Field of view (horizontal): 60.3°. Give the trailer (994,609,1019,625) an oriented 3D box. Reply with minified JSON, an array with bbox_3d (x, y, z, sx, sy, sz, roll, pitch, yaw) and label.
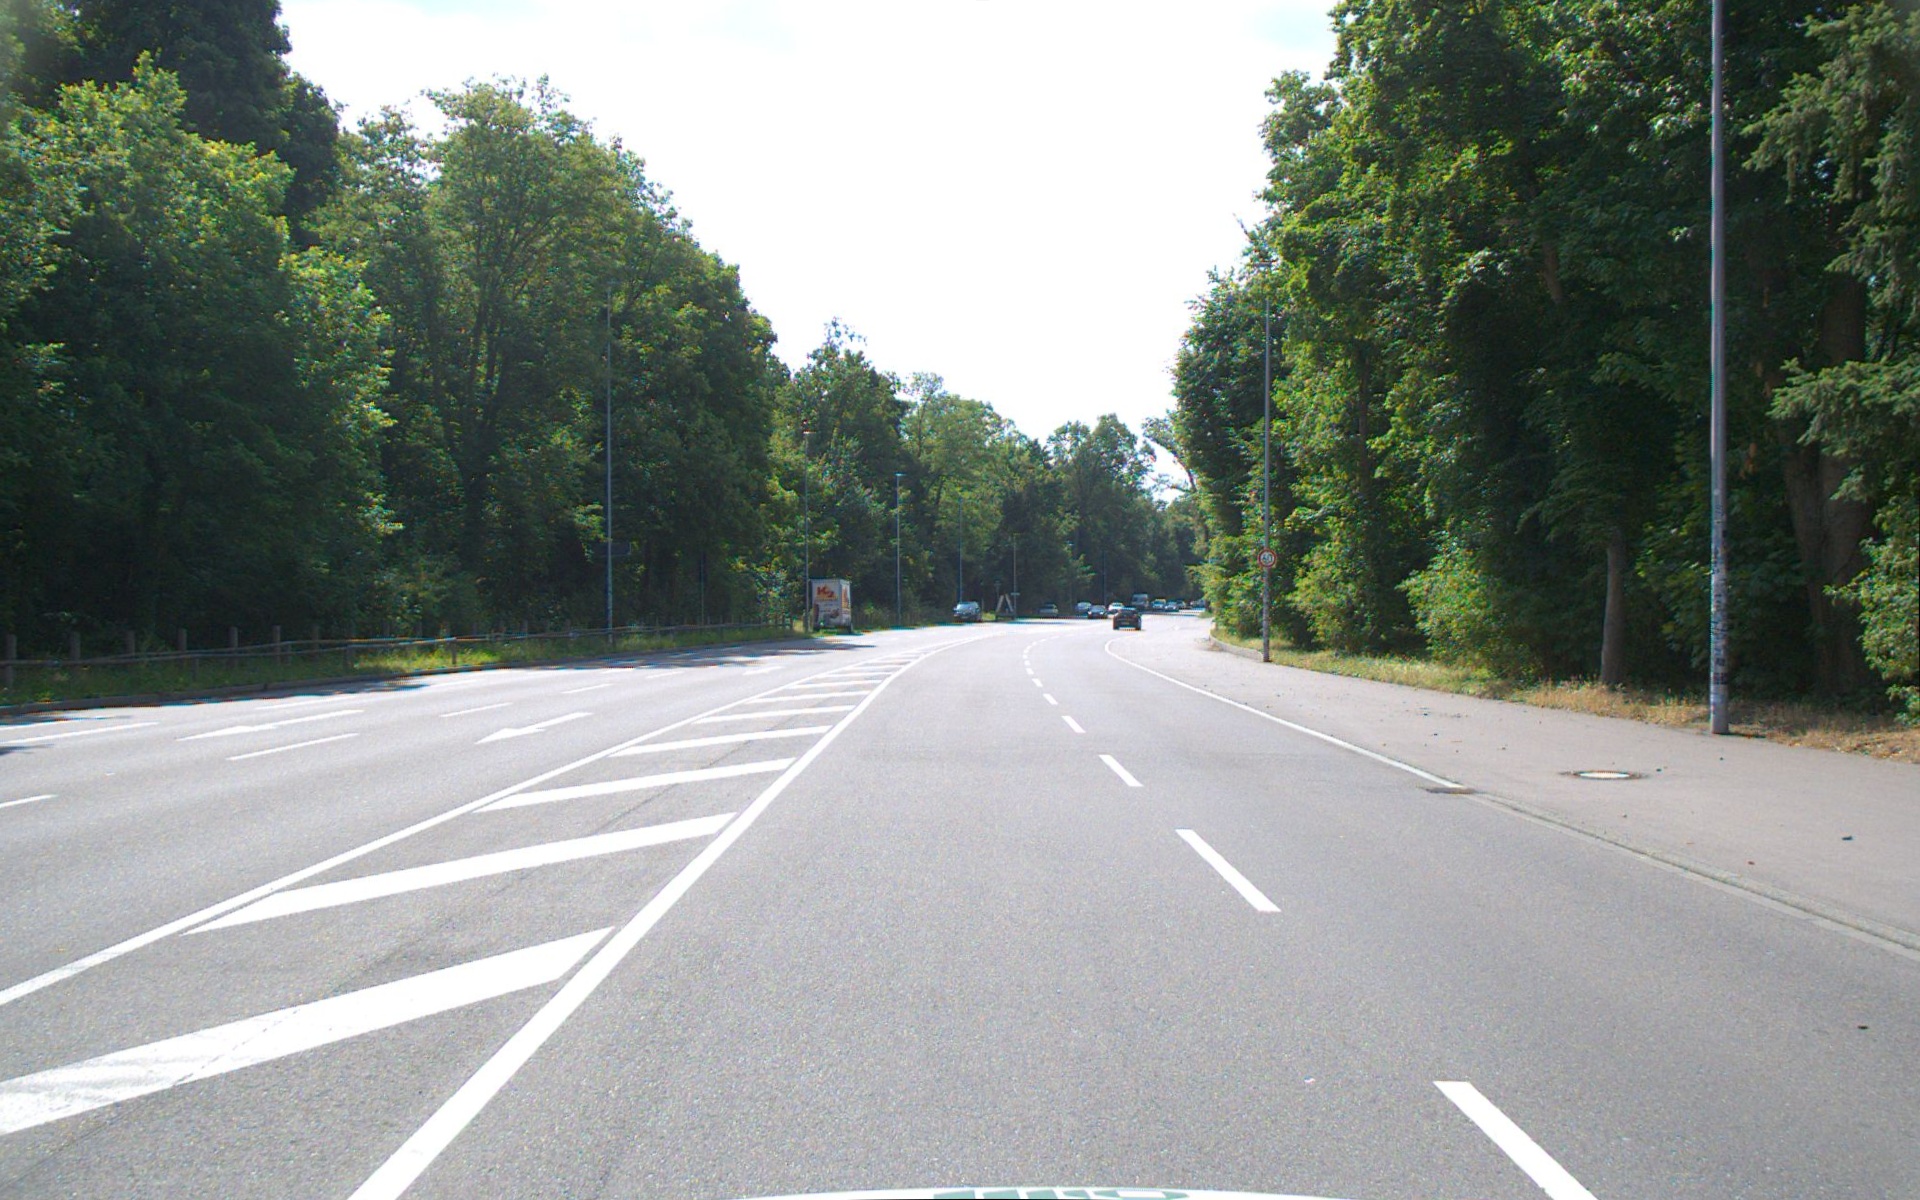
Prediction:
[{"bbox_3d":[4.179,1.530,149.159,1.679,1.378,3.735,1,0,10],"label":"trailer"}]

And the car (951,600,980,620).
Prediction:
[{"bbox_3d":[0.432,0.756,126.569,1.471,1.472,3.532,0,0,12],"label":"car"}]

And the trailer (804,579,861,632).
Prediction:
[{"bbox_3d":[-5.981,0.260,78.075,1.951,2.430,4.003,1,0,6],"label":"trailer"}]

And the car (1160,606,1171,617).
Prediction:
[{"bbox_3d":[30.510,1.712,245.797,1.471,1.472,3.532,1,0,9],"label":"car"}]

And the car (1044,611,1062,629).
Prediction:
[{"bbox_3d":[9.966,2.130,176.889,1.882,1.887,4.002,1,0,4],"label":"car"}]

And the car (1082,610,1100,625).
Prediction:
[{"bbox_3d":[13.724,1.843,173.591,1.471,1.472,3.532,0,0,12],"label":"car"}]

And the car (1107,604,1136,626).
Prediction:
[{"bbox_3d":[10.830,0.995,110.527,1.563,1.402,3.979,0,0,11],"label":"car"}]
